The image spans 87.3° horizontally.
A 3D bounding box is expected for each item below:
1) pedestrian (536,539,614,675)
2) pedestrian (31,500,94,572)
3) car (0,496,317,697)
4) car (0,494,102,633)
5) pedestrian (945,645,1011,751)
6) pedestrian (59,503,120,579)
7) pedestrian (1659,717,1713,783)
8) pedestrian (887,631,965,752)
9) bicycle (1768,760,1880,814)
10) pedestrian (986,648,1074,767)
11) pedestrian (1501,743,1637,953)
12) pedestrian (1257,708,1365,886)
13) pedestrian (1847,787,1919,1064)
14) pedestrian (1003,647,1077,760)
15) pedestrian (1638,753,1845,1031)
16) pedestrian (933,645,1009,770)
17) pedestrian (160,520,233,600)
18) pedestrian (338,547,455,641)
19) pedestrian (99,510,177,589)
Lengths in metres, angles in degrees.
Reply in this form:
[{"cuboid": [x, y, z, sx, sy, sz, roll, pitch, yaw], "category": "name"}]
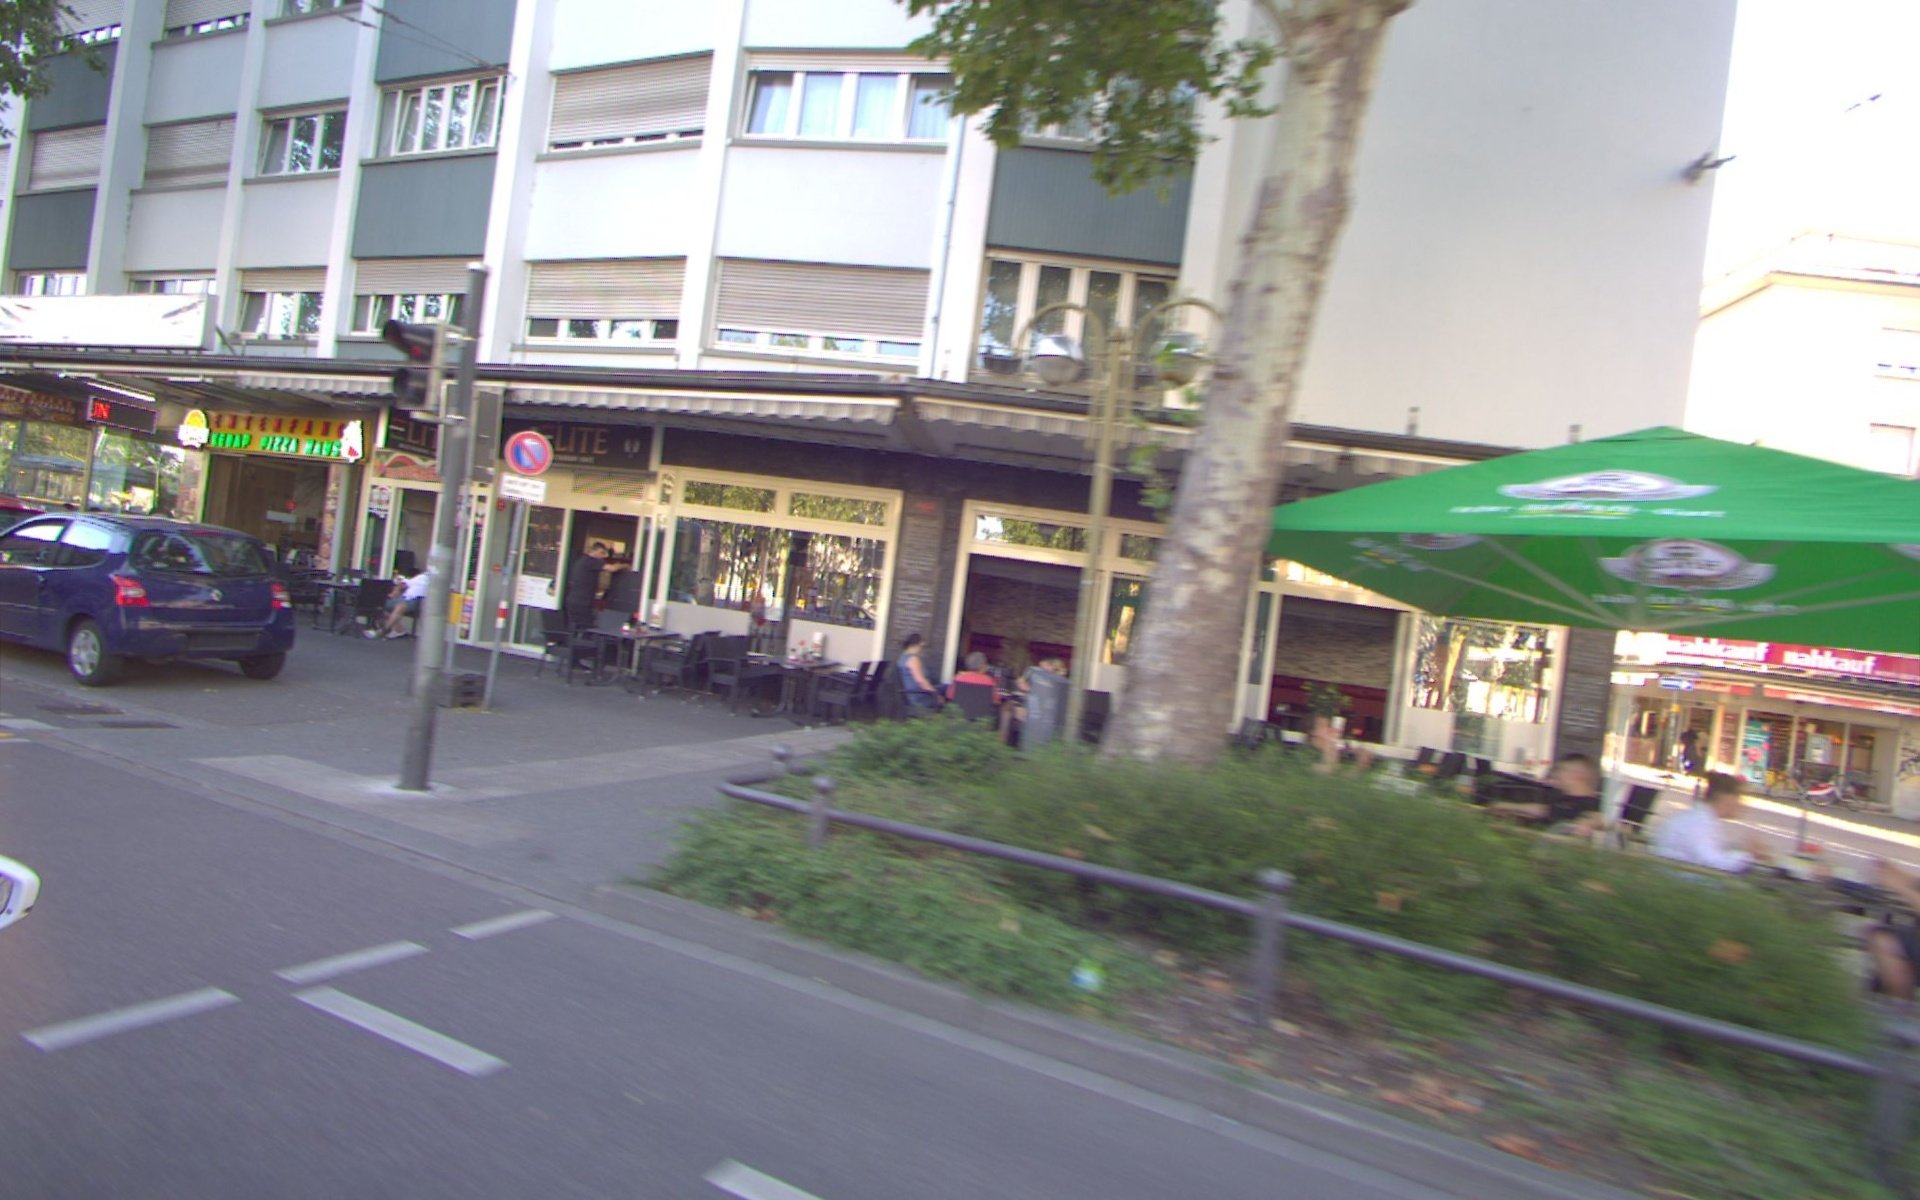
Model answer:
[{"cuboid": [-5.267, 0.100, 13.777, 0.579, 1.758, 0.597, 8, 3, 23], "category": "pedestrian"}, {"cuboid": [-16.529, -1.178, 18.527, 0.693, 1.219, 0.677, 7, 3, 35], "category": "pedestrian"}, {"cuboid": [-8.359, -0.112, 9.877, 3.539, 1.485, 1.623, 8, 1, 22], "category": "car"}, {"cuboid": [-12.089, -0.599, 11.600, 3.776, 1.447, 1.670, 8, 1, 21], "category": "car"}, {"cuboid": [0.221, 1.191, 12.415, 0.638, 1.144, 0.717, 8, 1, 0], "category": "pedestrian"}, {"cuboid": [-15.630, -1.052, 18.062, 0.700, 1.260, 0.615, 7, 3, 34], "category": "pedestrian"}, {"cuboid": [23.500, 4.840, 32.579, 0.889, 1.903, 0.952, 8, 0, 8], "category": "pedestrian"}, {"cuboid": [-0.386, 1.051, 11.778, 0.704, 1.267, 0.650, 8, 1, 1], "category": "pedestrian"}, {"cuboid": [25.898, 5.612, 30.185, 2.493, 1.130, 0.717, 8, 1, 5], "category": "bicycle"}, {"cuboid": [0.822, 1.230, 11.704, 0.704, 1.233, 0.666, 9, 1, 19], "category": "pedestrian"}, {"cuboid": [3.992, 1.615, 6.621, 0.460, 1.235, 0.432, 7, 1, -4], "category": "pedestrian"}, {"cuboid": [2.670, 1.484, 7.668, 0.426, 1.233, 0.466, 9, -1, -19], "category": "pedestrian"}, {"cuboid": [5.150, 1.691, 5.129, 0.757, 1.301, 0.717, 8, 0, 37], "category": "pedestrian"}, {"cuboid": [0.970, 1.258, 12.241, 0.515, 1.259, 0.547, 8, 1, -31], "category": "pedestrian"}, {"cuboid": [4.443, 1.597, 5.752, 0.757, 1.301, 0.717, 8, 0, 39], "category": "pedestrian"}, {"cuboid": [0.136, 1.157, 11.091, 0.638, 1.213, 0.846, 9, 1, 3], "category": "pedestrian"}, {"cuboid": [-12.179, -0.634, 16.051, 0.739, 1.172, 0.594, 7, 2, 26], "category": "pedestrian"}, {"cuboid": [-8.215, -0.075, 14.698, 0.765, 1.248, 1.204, 7, 2, 27], "category": "pedestrian"}, {"cuboid": [-14.131, -0.861, 17.294, 0.687, 1.237, 0.863, 8, 3, 39], "category": "pedestrian"}]
